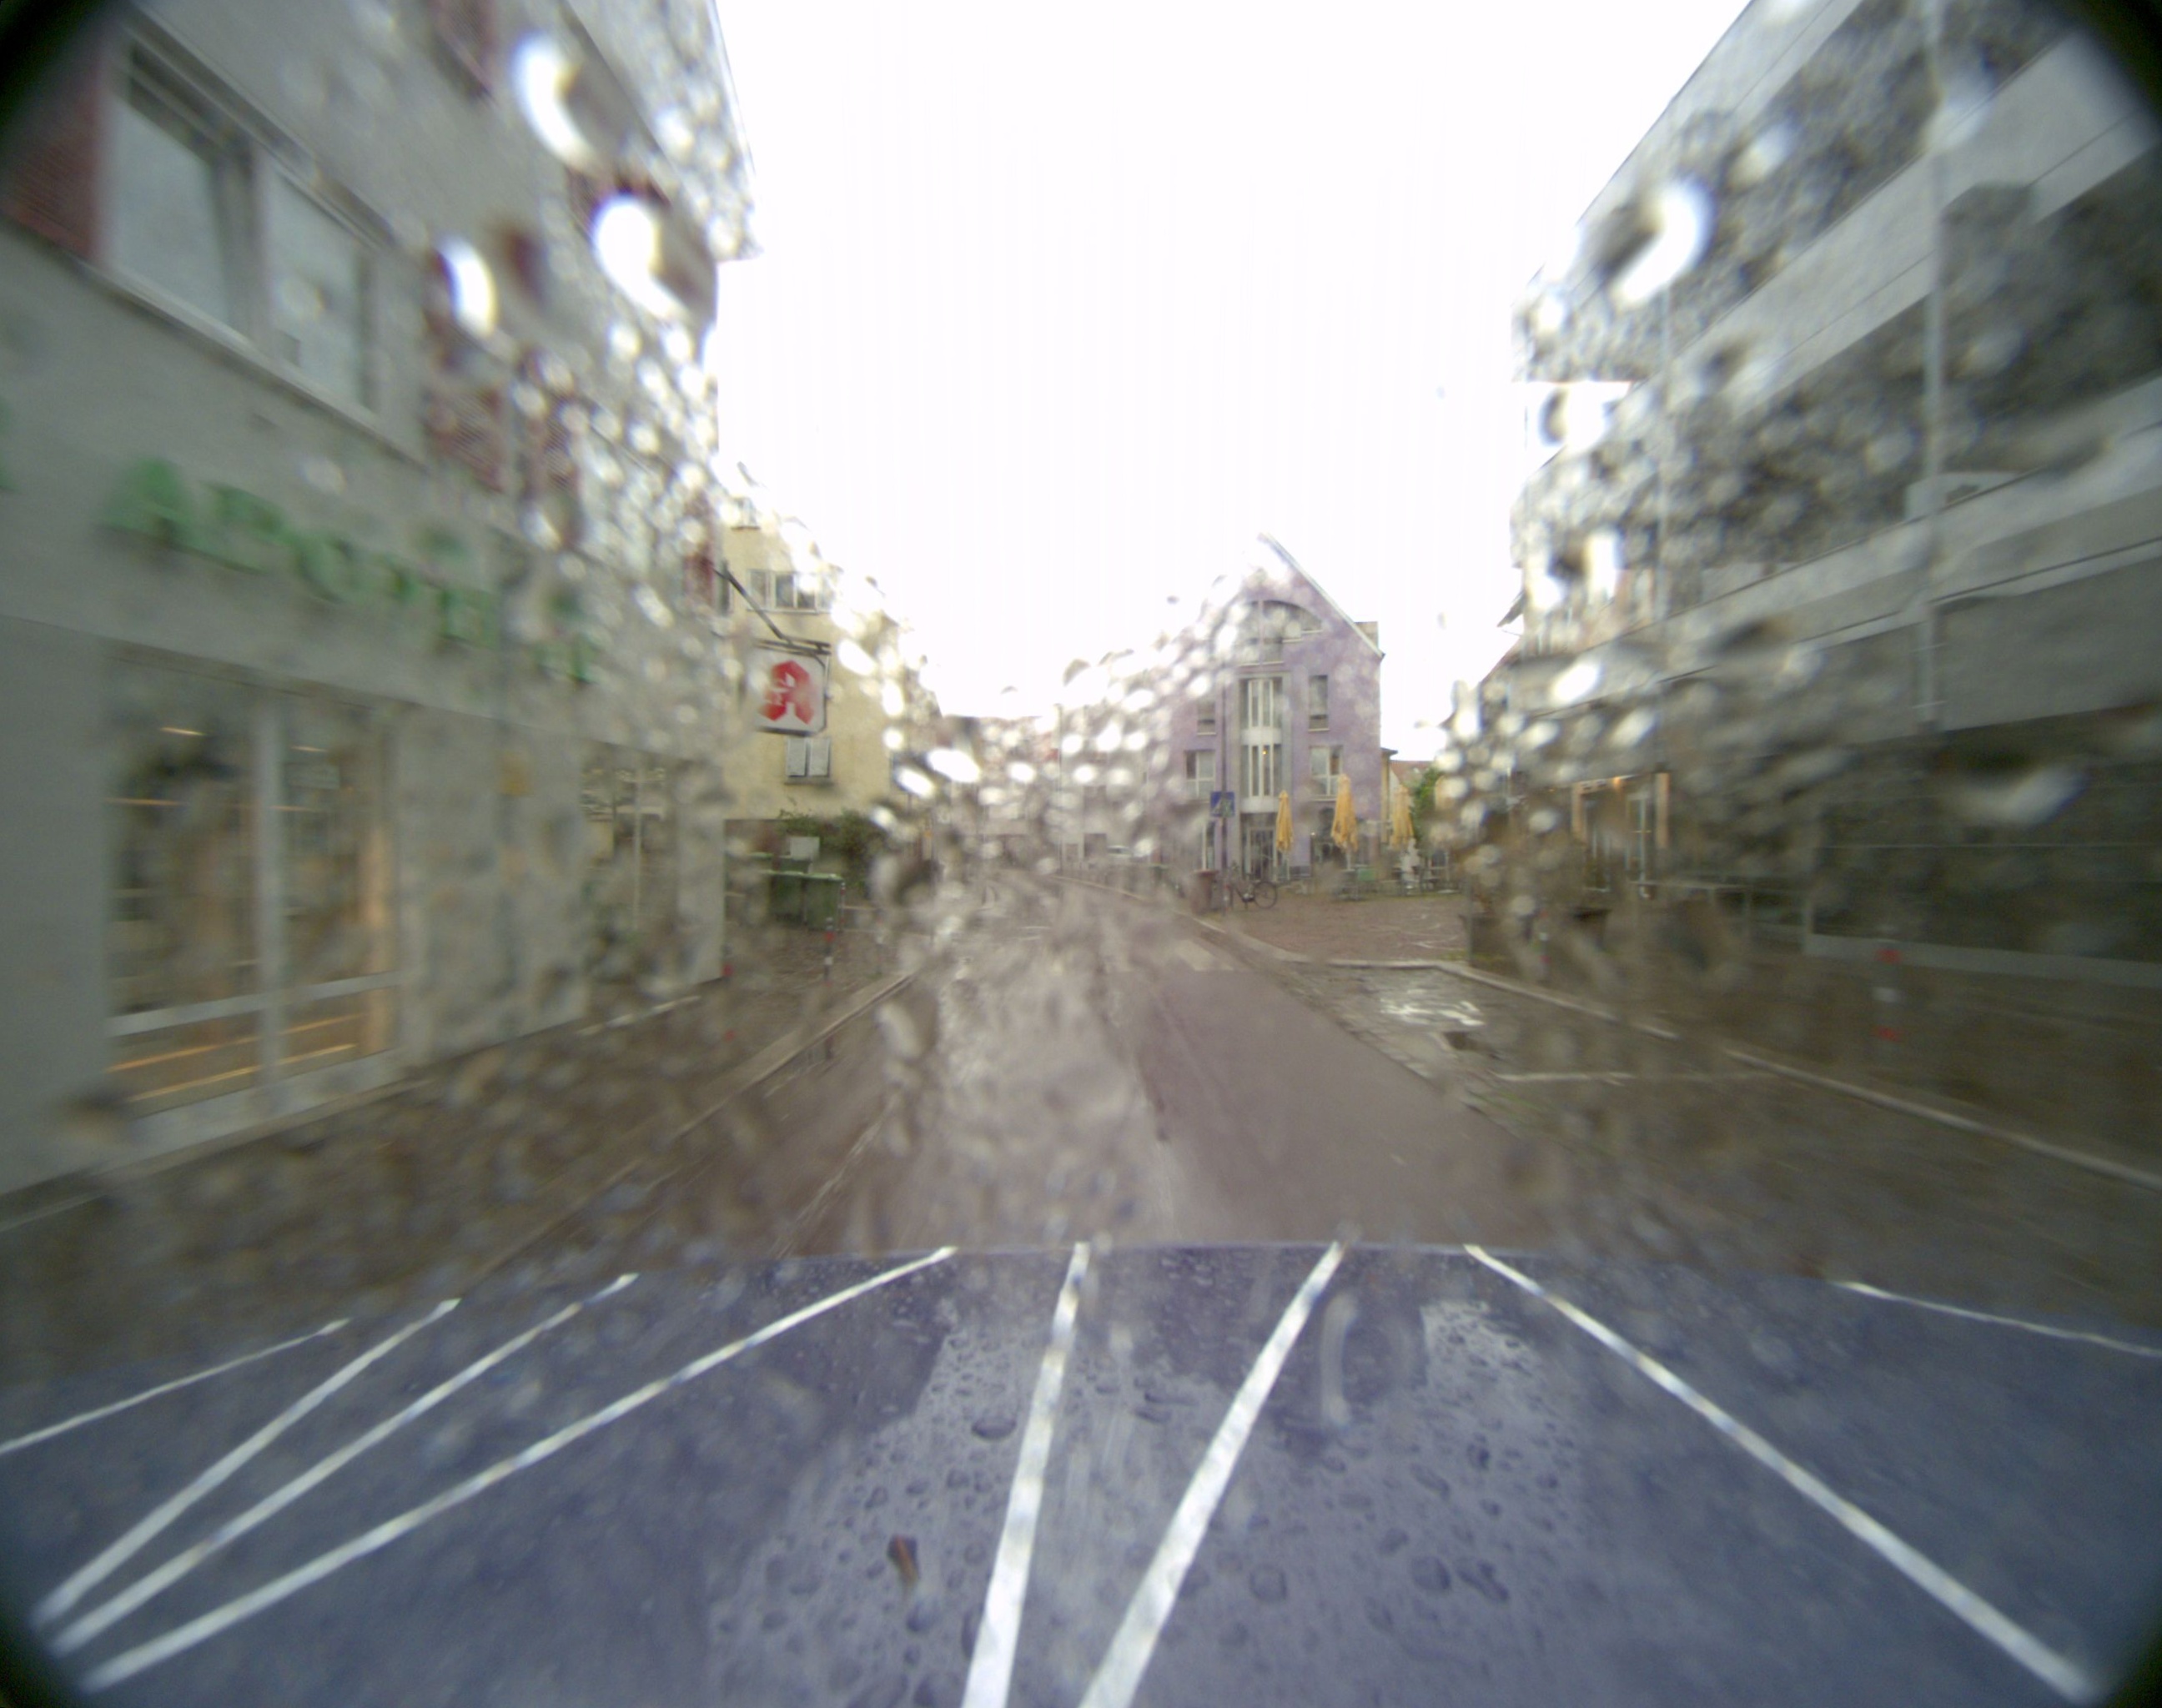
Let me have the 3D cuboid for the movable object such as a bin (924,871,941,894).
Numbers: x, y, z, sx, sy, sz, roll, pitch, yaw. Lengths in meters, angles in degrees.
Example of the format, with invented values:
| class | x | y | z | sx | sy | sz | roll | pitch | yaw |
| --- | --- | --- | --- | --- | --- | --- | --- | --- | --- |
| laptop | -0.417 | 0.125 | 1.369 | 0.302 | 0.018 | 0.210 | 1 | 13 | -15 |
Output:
| class | x | y | z | sx | sy | sz | roll | pitch | yaw |
| --- | --- | --- | --- | --- | --- | --- | --- | --- | --- |
| movable object such as a bin | -5.727 | 1.094 | 29.378 | 0.547 | 0.831 | 0.909 | 2 | 1 | -6 |

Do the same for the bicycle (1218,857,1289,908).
| class | x | y | z | sx | sy | sz | roll | pitch | yaw |
| --- | --- | --- | --- | --- | --- | --- | --- | --- | --- |
| bicycle | 4.291 | 0.695 | 18.902 | 1.753 | 1.158 | 0.443 | -2 | 3 | -20 |

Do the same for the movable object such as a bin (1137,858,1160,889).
| class | x | y | z | sx | sy | sz | roll | pitch | yaw |
| --- | --- | --- | --- | --- | --- | --- | --- | --- | --- |
| movable object such as a bin | 2.510 | 0.716 | 28.367 | 0.689 | 1.099 | 0.668 | -1 | 2 | -9 |

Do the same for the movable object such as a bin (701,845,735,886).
| class | x | y | z | sx | sy | sz | roll | pitch | yaw |
| --- | --- | --- | --- | --- | --- | --- | --- | --- | --- |
| movable object such as a bin | -9.560 | 0.296 | 20.027 | 0.514 | 1.050 | 0.626 | 2 | 3 | 17 |

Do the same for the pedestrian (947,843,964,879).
| class | x | y | z | sx | sy | sz | roll | pitch | yaw |
| --- | --- | --- | --- | --- | --- | --- | --- | --- | --- |
| pedestrian | -6.729 | 0.369 | 40.649 | 0.656 | 1.892 | 0.657 | 1 | 2 | -27 |

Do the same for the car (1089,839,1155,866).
| class | x | y | z | sx | sy | sz | roll | pitch | yaw |
| --- | --- | --- | --- | --- | --- | --- | --- | --- | --- |
| car | 2.612 | -0.097 | 47.933 | 3.993 | 1.575 | 1.833 | 0 | 3 | 6 |

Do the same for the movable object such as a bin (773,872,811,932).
| class | x | y | z | sx | sy | sz | roll | pitch | yaw |
| --- | --- | --- | --- | --- | --- | --- | --- | --- | --- |
| movable object such as a bin | -5.343 | 0.877 | 14.066 | 0.502 | 1.050 | 0.548 | 1 | 3 | -1 |

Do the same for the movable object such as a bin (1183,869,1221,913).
| class | x | y | z | sx | sy | sz | roll | pitch | yaw |
| --- | --- | --- | --- | --- | --- | --- | --- | --- | --- |
| movable object such as a bin | 2.901 | 0.880 | 18.284 | 0.689 | 1.014 | 0.631 | -1 | 2 | -18 |

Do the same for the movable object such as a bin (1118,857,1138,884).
| class | x | y | z | sx | sy | sz | roll | pitch | yaw |
| --- | --- | --- | --- | --- | --- | --- | --- | --- | --- |
| movable object such as a bin | 1.915 | 0.681 | 31.168 | 0.689 | 1.072 | 0.676 | -1 | 1 | -9 |

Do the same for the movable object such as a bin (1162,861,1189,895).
| class | x | y | z | sx | sy | sz | roll | pitch | yaw |
| --- | --- | --- | --- | --- | --- | --- | --- | --- | --- |
| movable object such as a bin | 2.993 | 0.747 | 24.029 | 0.689 | 1.036 | 0.668 | -1 | 1 | -9 |

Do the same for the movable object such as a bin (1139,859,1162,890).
| class | x | y | z | sx | sy | sz | roll | pitch | yaw |
| --- | --- | --- | --- | --- | --- | --- | --- | --- | --- |
| movable object such as a bin | 2.520 | 0.728 | 27.562 | 0.689 | 1.099 | 0.668 | -1 | 2 | -9 |

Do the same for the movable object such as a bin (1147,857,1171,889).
| class | x | y | z | sx | sy | sz | roll | pitch | yaw |
| --- | --- | --- | --- | --- | --- | --- | --- | --- | --- |
| movable object such as a bin | 2.724 | 0.660 | 26.580 | 0.689 | 1.068 | 0.668 | -1 | 1 | -9 |

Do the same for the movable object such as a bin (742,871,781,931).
| class | x | y | z | sx | sy | sz | roll | pitch | yaw |
| --- | --- | --- | --- | --- | --- | --- | --- | --- | --- |
| movable object such as a bin | -5.907 | 0.861 | 14.061 | 0.502 | 1.050 | 0.548 | 1 | 3 | -1 |

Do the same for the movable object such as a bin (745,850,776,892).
| class | x | y | z | sx | sy | sz | roll | pitch | yaw |
| --- | --- | --- | --- | --- | --- | --- | --- | --- | --- |
| movable object such as a bin | -8.308 | 0.435 | 19.701 | 0.514 | 1.050 | 0.625 | 2 | 3 | 1 |

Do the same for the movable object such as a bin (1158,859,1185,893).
| class | x | y | z | sx | sy | sz | roll | pitch | yaw |
| --- | --- | --- | --- | --- | --- | --- | --- | --- | --- |
| movable object such as a bin | 2.948 | 0.699 | 24.763 | 0.689 | 1.070 | 0.668 | -1 | 1 | -9 |

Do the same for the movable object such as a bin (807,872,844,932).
| class | x | y | z | sx | sy | sz | roll | pitch | yaw |
| --- | --- | --- | --- | --- | --- | --- | --- | --- | --- |
| movable object such as a bin | -4.736 | 0.886 | 14.092 | 0.502 | 1.050 | 0.548 | 1 | 3 | -1 |

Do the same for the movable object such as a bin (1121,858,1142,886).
| class | x | y | z | sx | sy | sz | roll | pitch | yaw |
| --- | --- | --- | --- | --- | --- | --- | --- | --- | --- |
| movable object such as a bin | 2.036 | 0.705 | 30.430 | 0.689 | 1.081 | 0.712 | -1 | 1 | -9 |

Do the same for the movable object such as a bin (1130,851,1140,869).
| class | x | y | z | sx | sy | sz | roll | pitch | yaw |
| --- | --- | --- | --- | --- | --- | --- | --- | --- | --- |
| movable object such as a bin | 3.042 | 0.341 | 42.920 | 0.488 | 0.983 | 0.573 | -1 | 3 | -2 |

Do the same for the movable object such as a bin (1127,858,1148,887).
| class | x | y | z | sx | sy | sz | roll | pitch | yaw |
| --- | --- | --- | --- | --- | --- | --- | --- | --- | --- |
| movable object such as a bin | 2.183 | 0.705 | 29.508 | 0.689 | 1.075 | 0.668 | -1 | 1 | -9 |

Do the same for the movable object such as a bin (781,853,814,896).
| class | x | y | z | sx | sy | sz | roll | pitch | yaw |
| --- | --- | --- | --- | --- | --- | --- | --- | --- | --- |
| movable object such as a bin | -7.324 | 0.525 | 19.631 | 0.513 | 1.050 | 0.626 | 3 | 4 | 29 |

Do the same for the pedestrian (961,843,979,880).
| class | x | y | z | sx | sy | sz | roll | pitch | yaw |
| --- | --- | --- | --- | --- | --- | --- | --- | --- | --- |
| pedestrian | -5.964 | 0.391 | 40.802 | 0.775 | 1.894 | 0.803 | -1 | 3 | -27 |
